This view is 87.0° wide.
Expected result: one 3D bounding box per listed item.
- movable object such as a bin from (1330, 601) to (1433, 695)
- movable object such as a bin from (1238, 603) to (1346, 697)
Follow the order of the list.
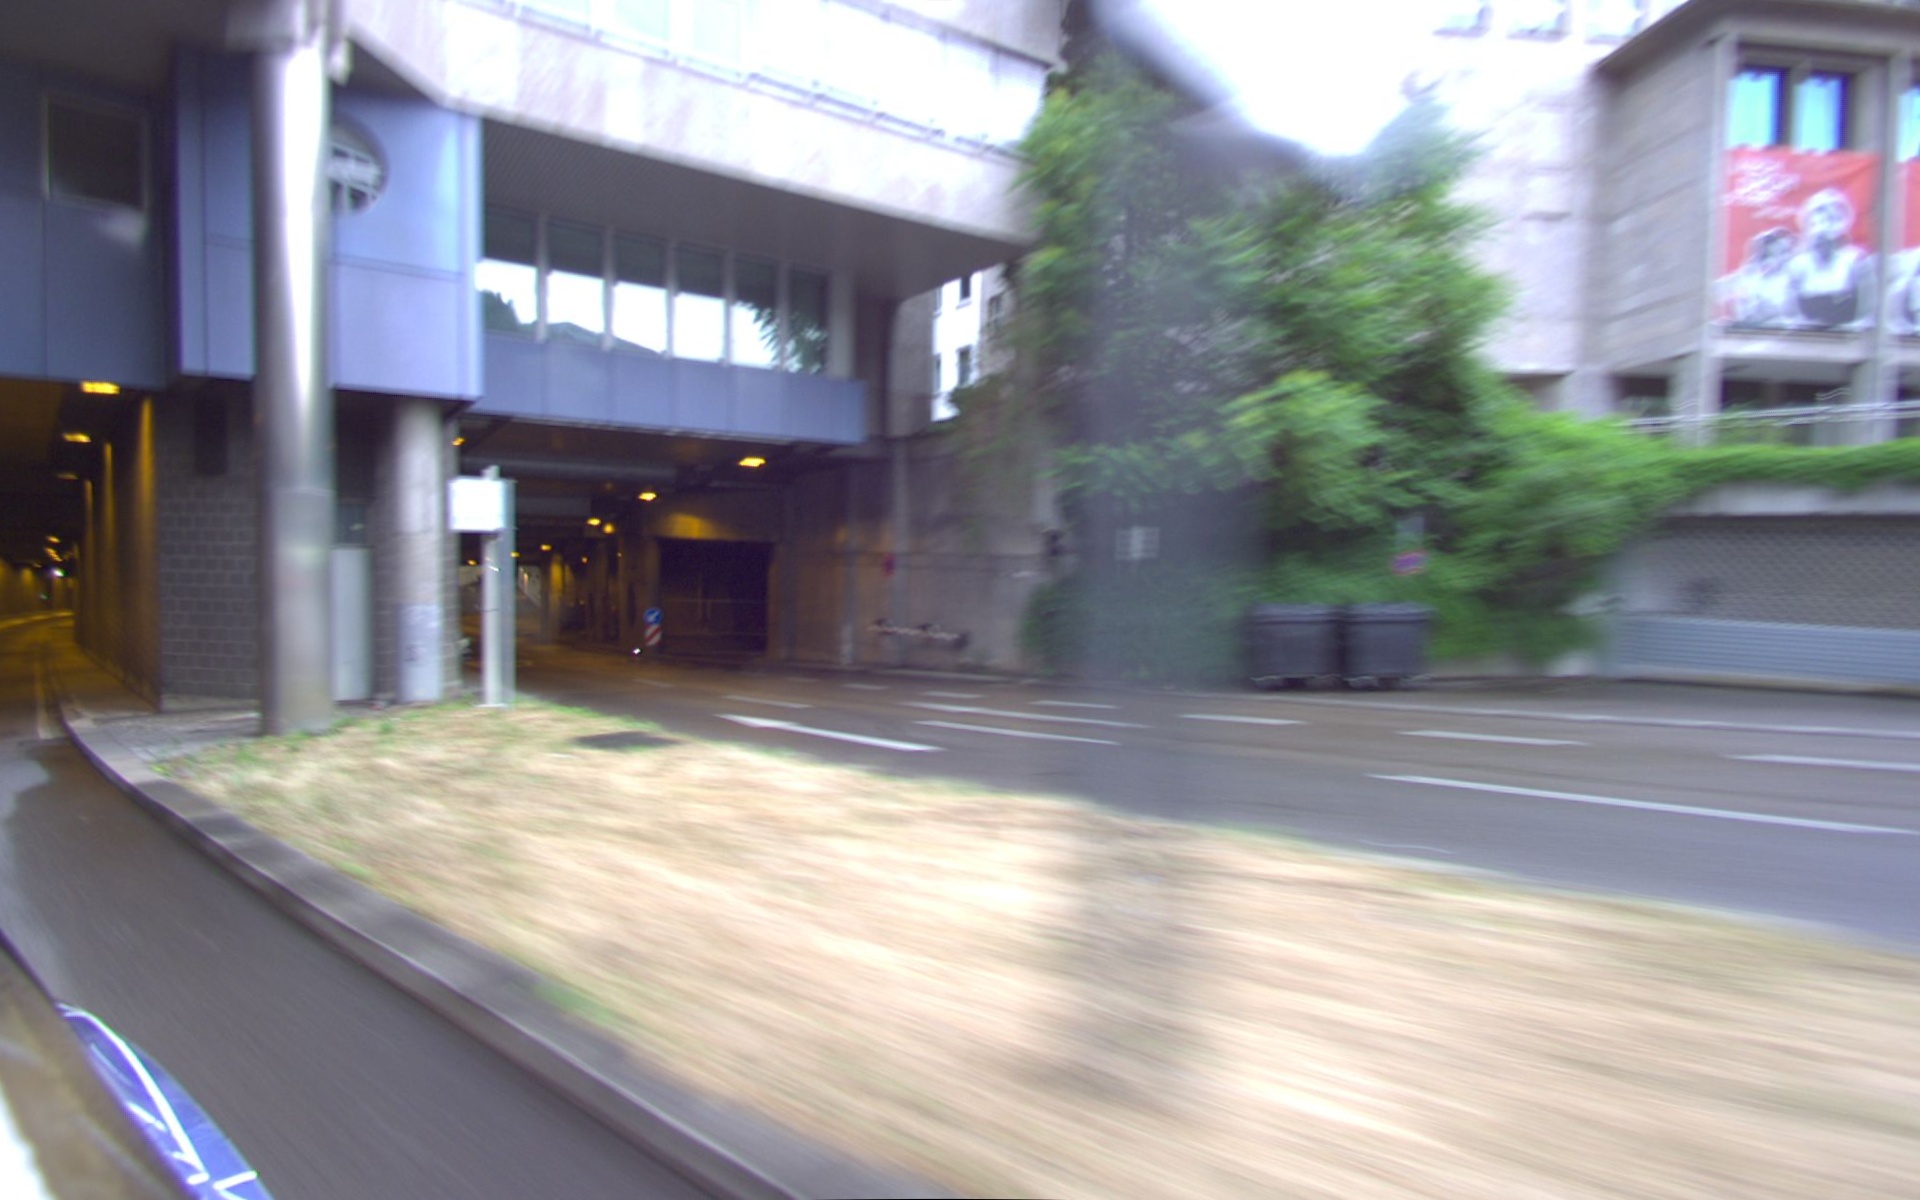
[{"bbox_3d":[6.921,0.765,16.701,1.191,1.461,1.295,0,1,3],"label":"movable object such as a bin"},{"bbox_3d":[5.449,0.800,16.712,1.319,1.461,1.169,0,1,-5],"label":"movable object such as a bin"}]
